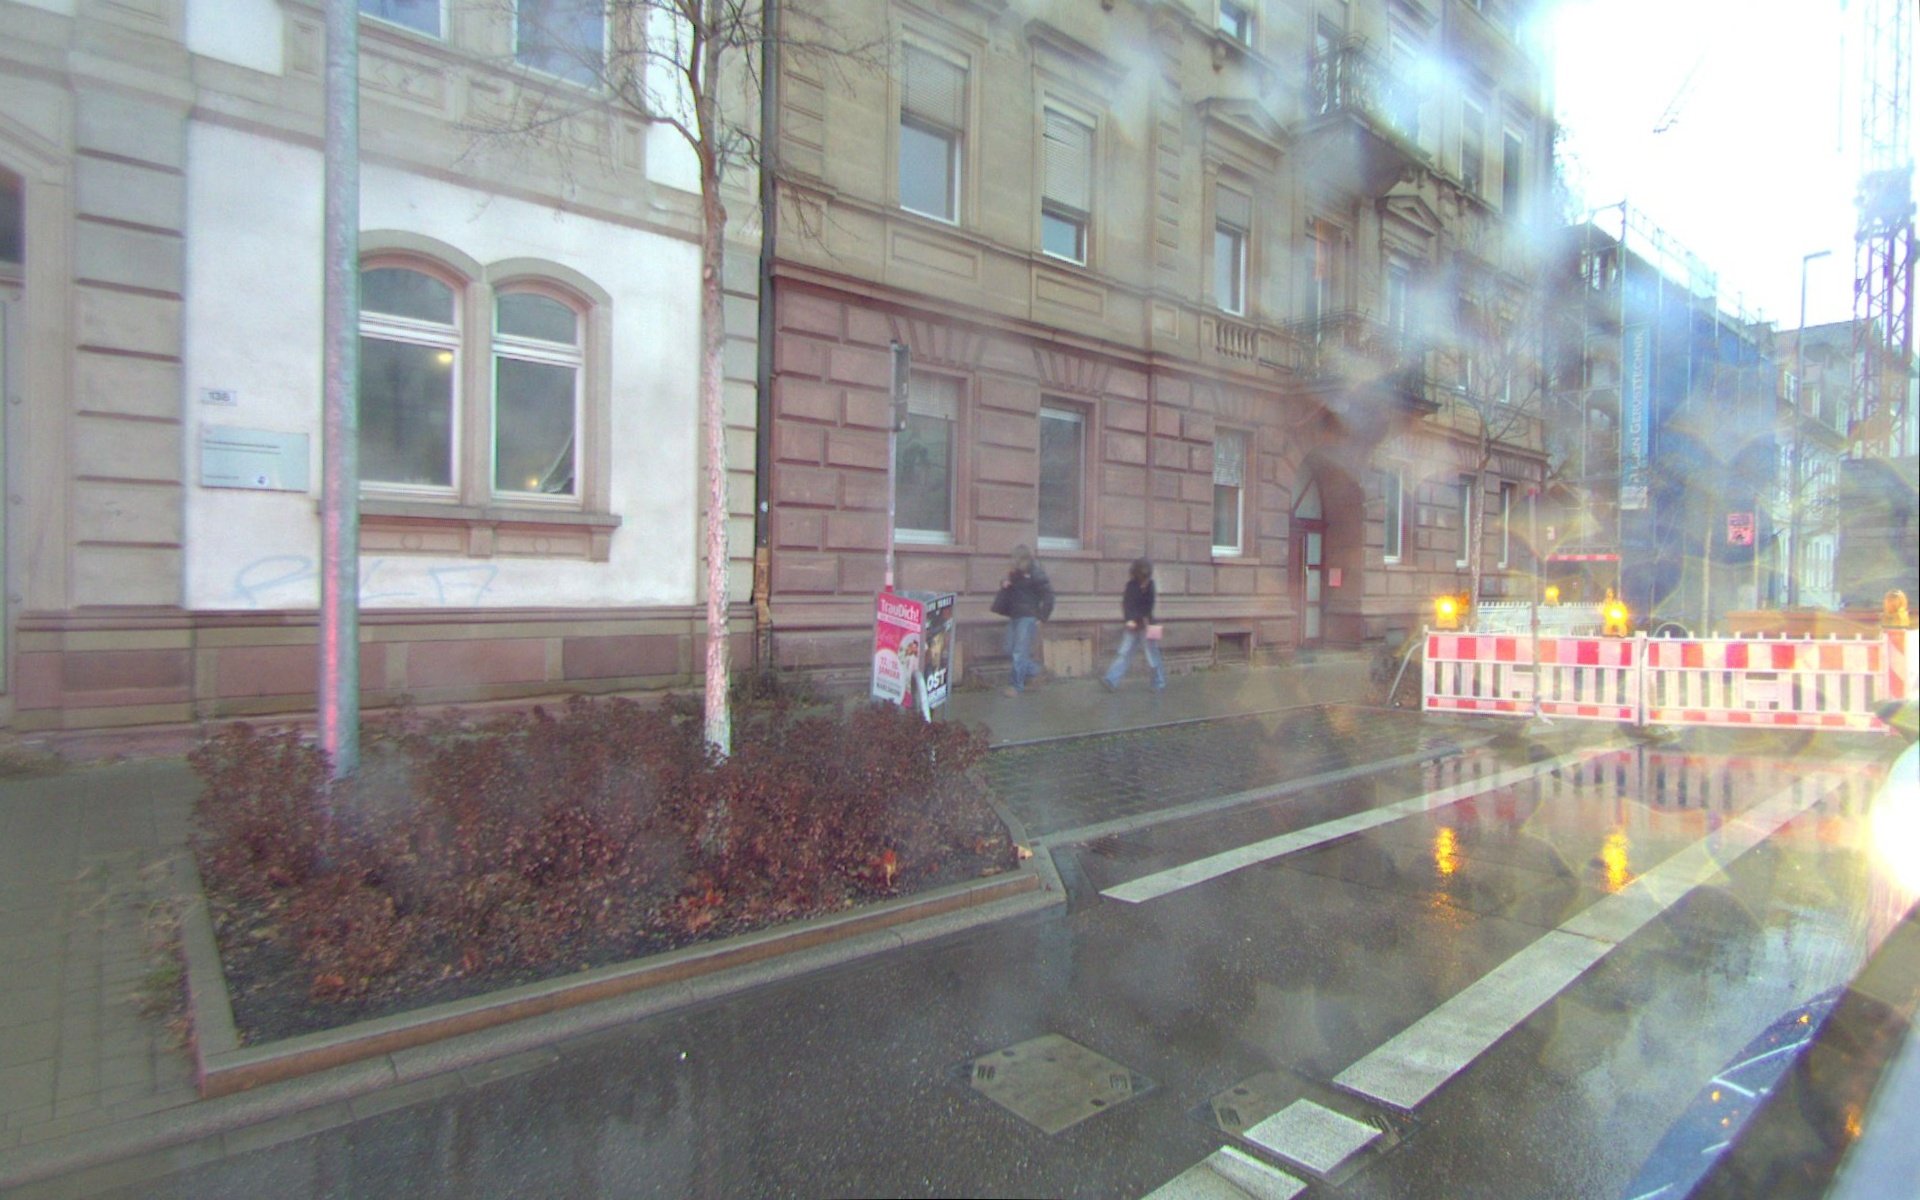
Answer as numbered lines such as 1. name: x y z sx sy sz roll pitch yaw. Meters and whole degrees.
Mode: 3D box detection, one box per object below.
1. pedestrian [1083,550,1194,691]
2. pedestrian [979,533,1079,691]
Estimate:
1. pedestrian: 2.080 0.214 11.824 0.913 1.564 0.870 0 2 -40
2. pedestrian: 0.771 0.114 11.375 0.694 1.693 0.870 0 1 -38
